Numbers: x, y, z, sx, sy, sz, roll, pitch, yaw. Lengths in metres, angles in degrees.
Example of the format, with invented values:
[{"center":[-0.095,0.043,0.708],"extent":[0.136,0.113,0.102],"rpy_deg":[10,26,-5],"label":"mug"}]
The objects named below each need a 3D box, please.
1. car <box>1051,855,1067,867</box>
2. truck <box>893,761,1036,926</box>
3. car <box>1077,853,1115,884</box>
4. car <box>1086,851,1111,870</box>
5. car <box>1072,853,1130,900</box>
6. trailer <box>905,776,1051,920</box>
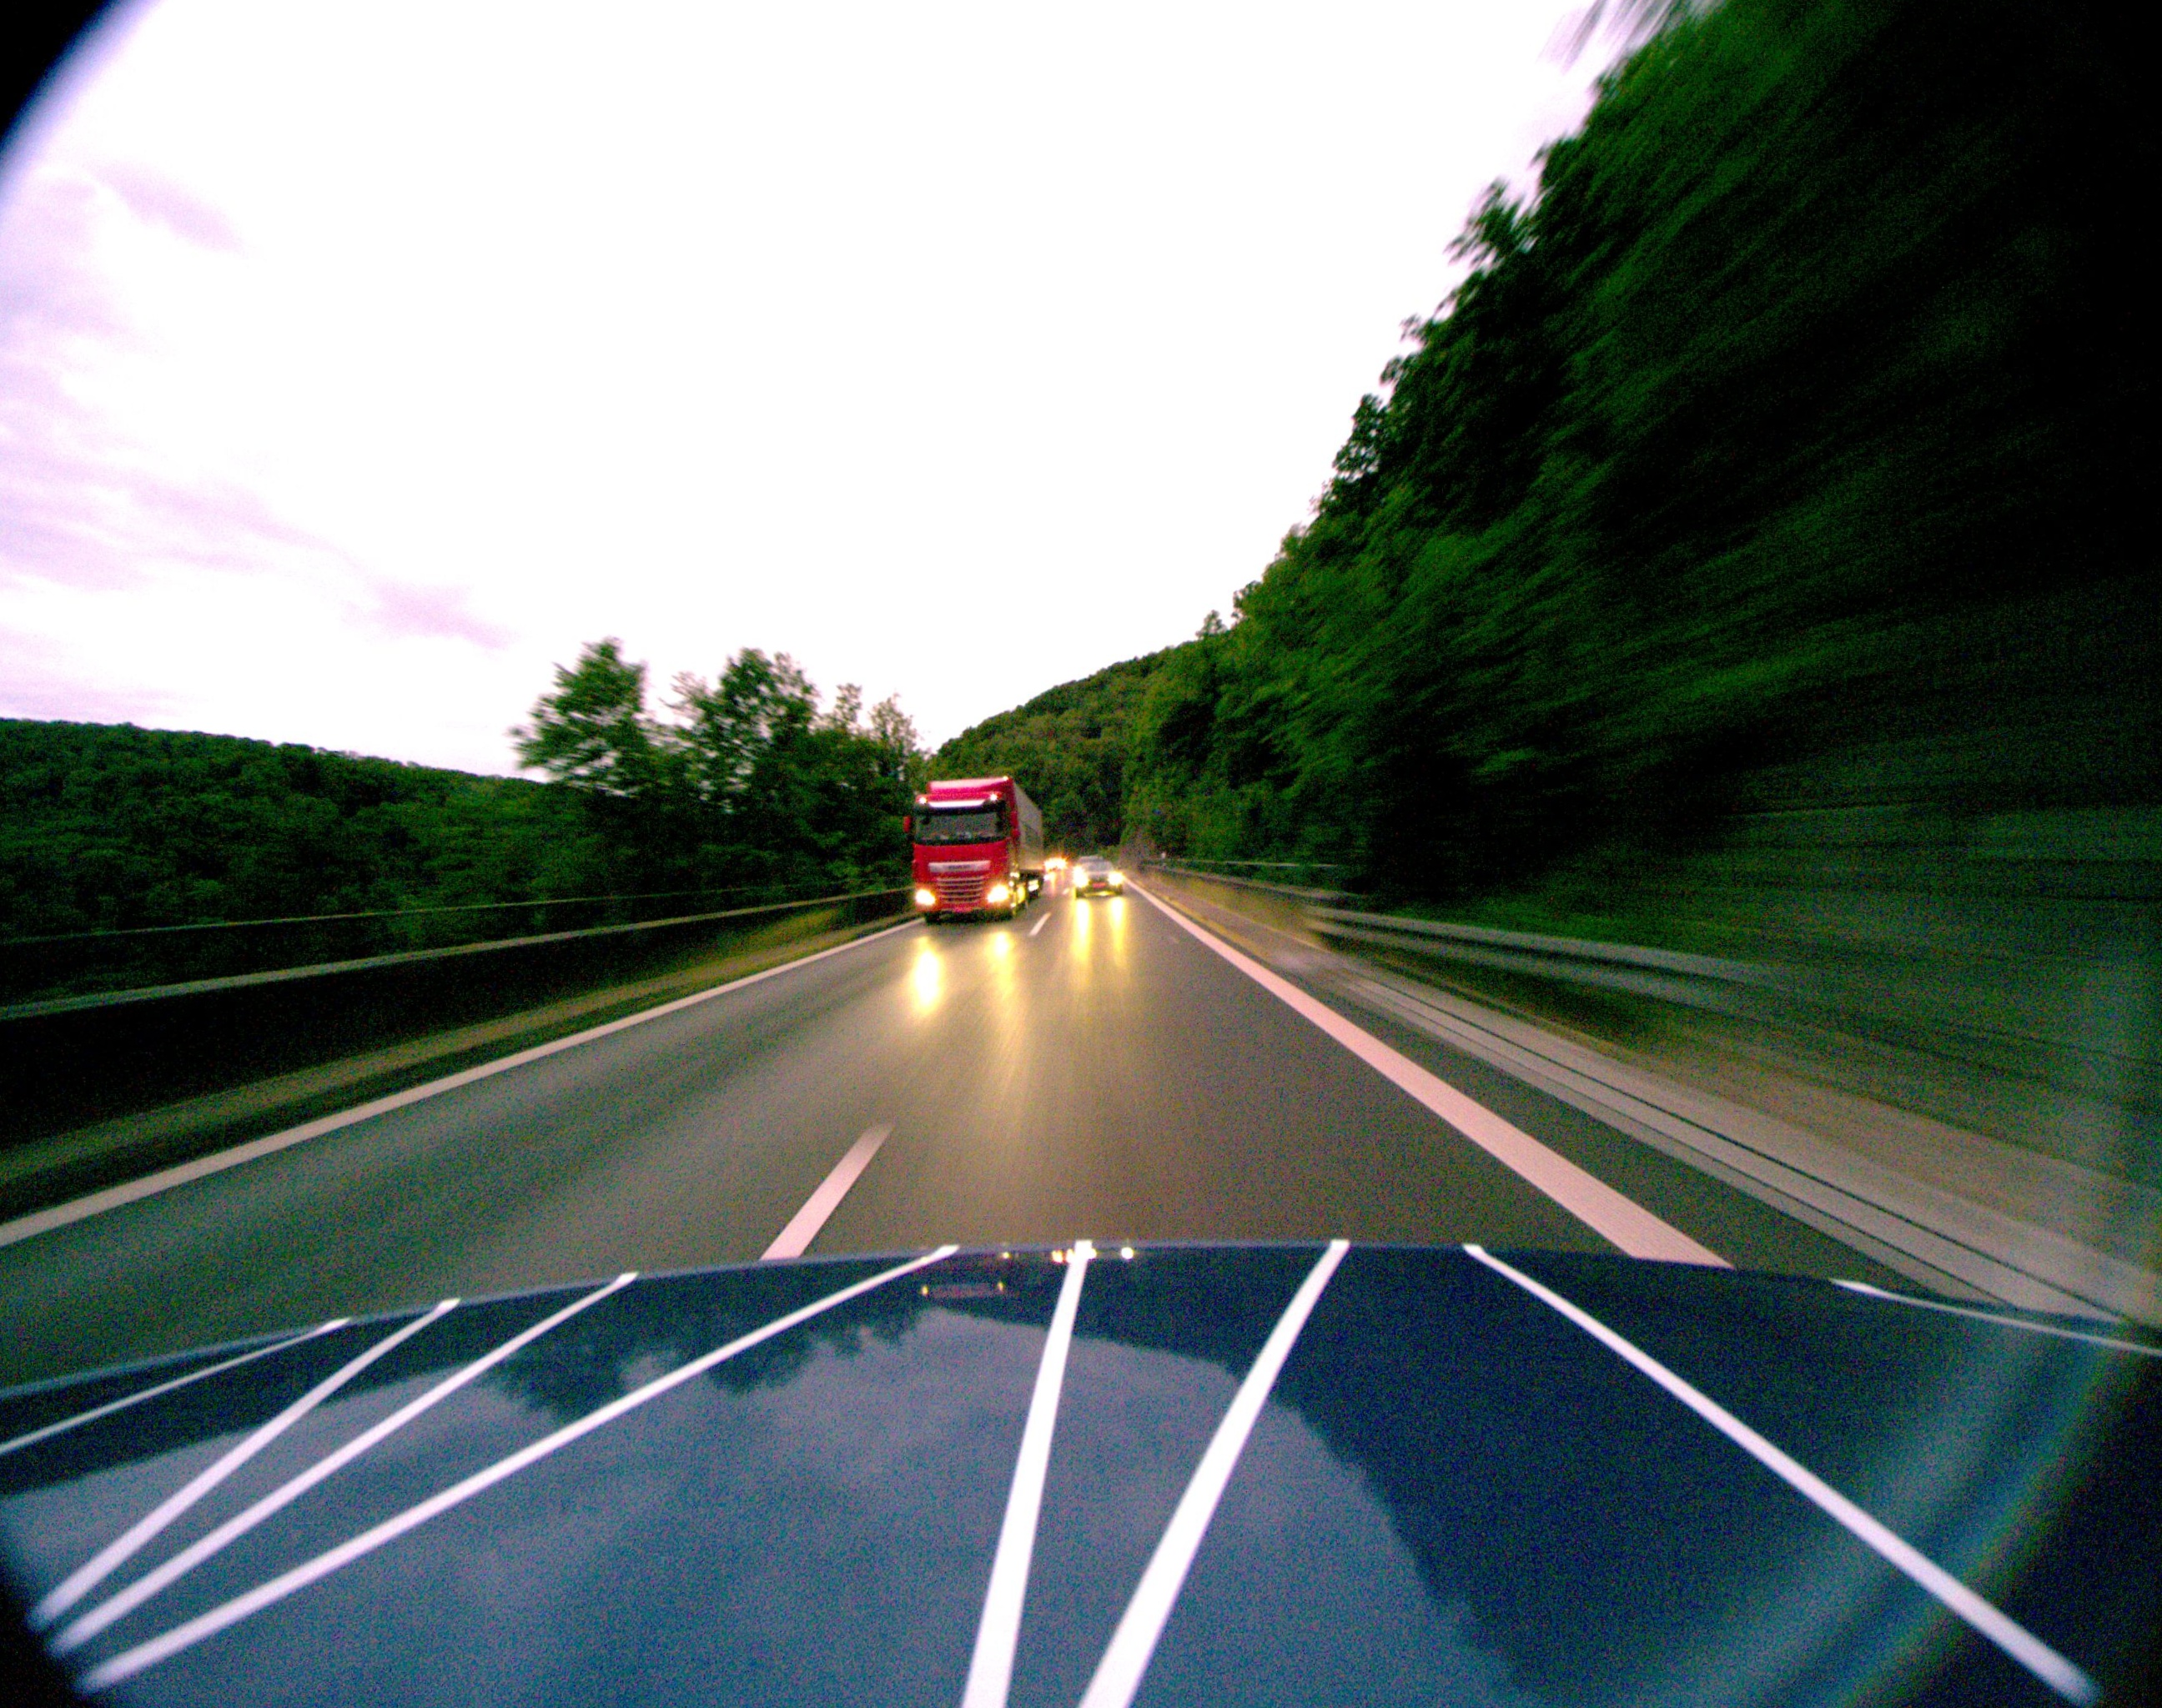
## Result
[{"center":[-3.384,1.057,115.905],"extent":[2.000,1.761,3.997],"rpy_deg":[1,-1,-8],"label":"car"},{"center":[-3.163,-0.267,22.655],"extent":[3.077,4.120,6.447],"rpy_deg":[-2,0,1],"label":"truck"},{"center":[0.960,0.812,45.793],"extent":[1.998,1.630,4.001],"rpy_deg":[-4,0,3],"label":"car"},{"center":[1.407,0.562,62.430],"extent":[1.998,1.499,4.000],"rpy_deg":[0,-1,0],"label":"car"},{"center":[0.844,0.812,29.311],"extent":[1.998,1.499,4.000],"rpy_deg":[-4,1,4],"label":"car"},{"center":[-3.236,-0.121,28.893],"extent":[3.105,3.946,14.219],"rpy_deg":[-3,-1,1],"label":"trailer"}]
